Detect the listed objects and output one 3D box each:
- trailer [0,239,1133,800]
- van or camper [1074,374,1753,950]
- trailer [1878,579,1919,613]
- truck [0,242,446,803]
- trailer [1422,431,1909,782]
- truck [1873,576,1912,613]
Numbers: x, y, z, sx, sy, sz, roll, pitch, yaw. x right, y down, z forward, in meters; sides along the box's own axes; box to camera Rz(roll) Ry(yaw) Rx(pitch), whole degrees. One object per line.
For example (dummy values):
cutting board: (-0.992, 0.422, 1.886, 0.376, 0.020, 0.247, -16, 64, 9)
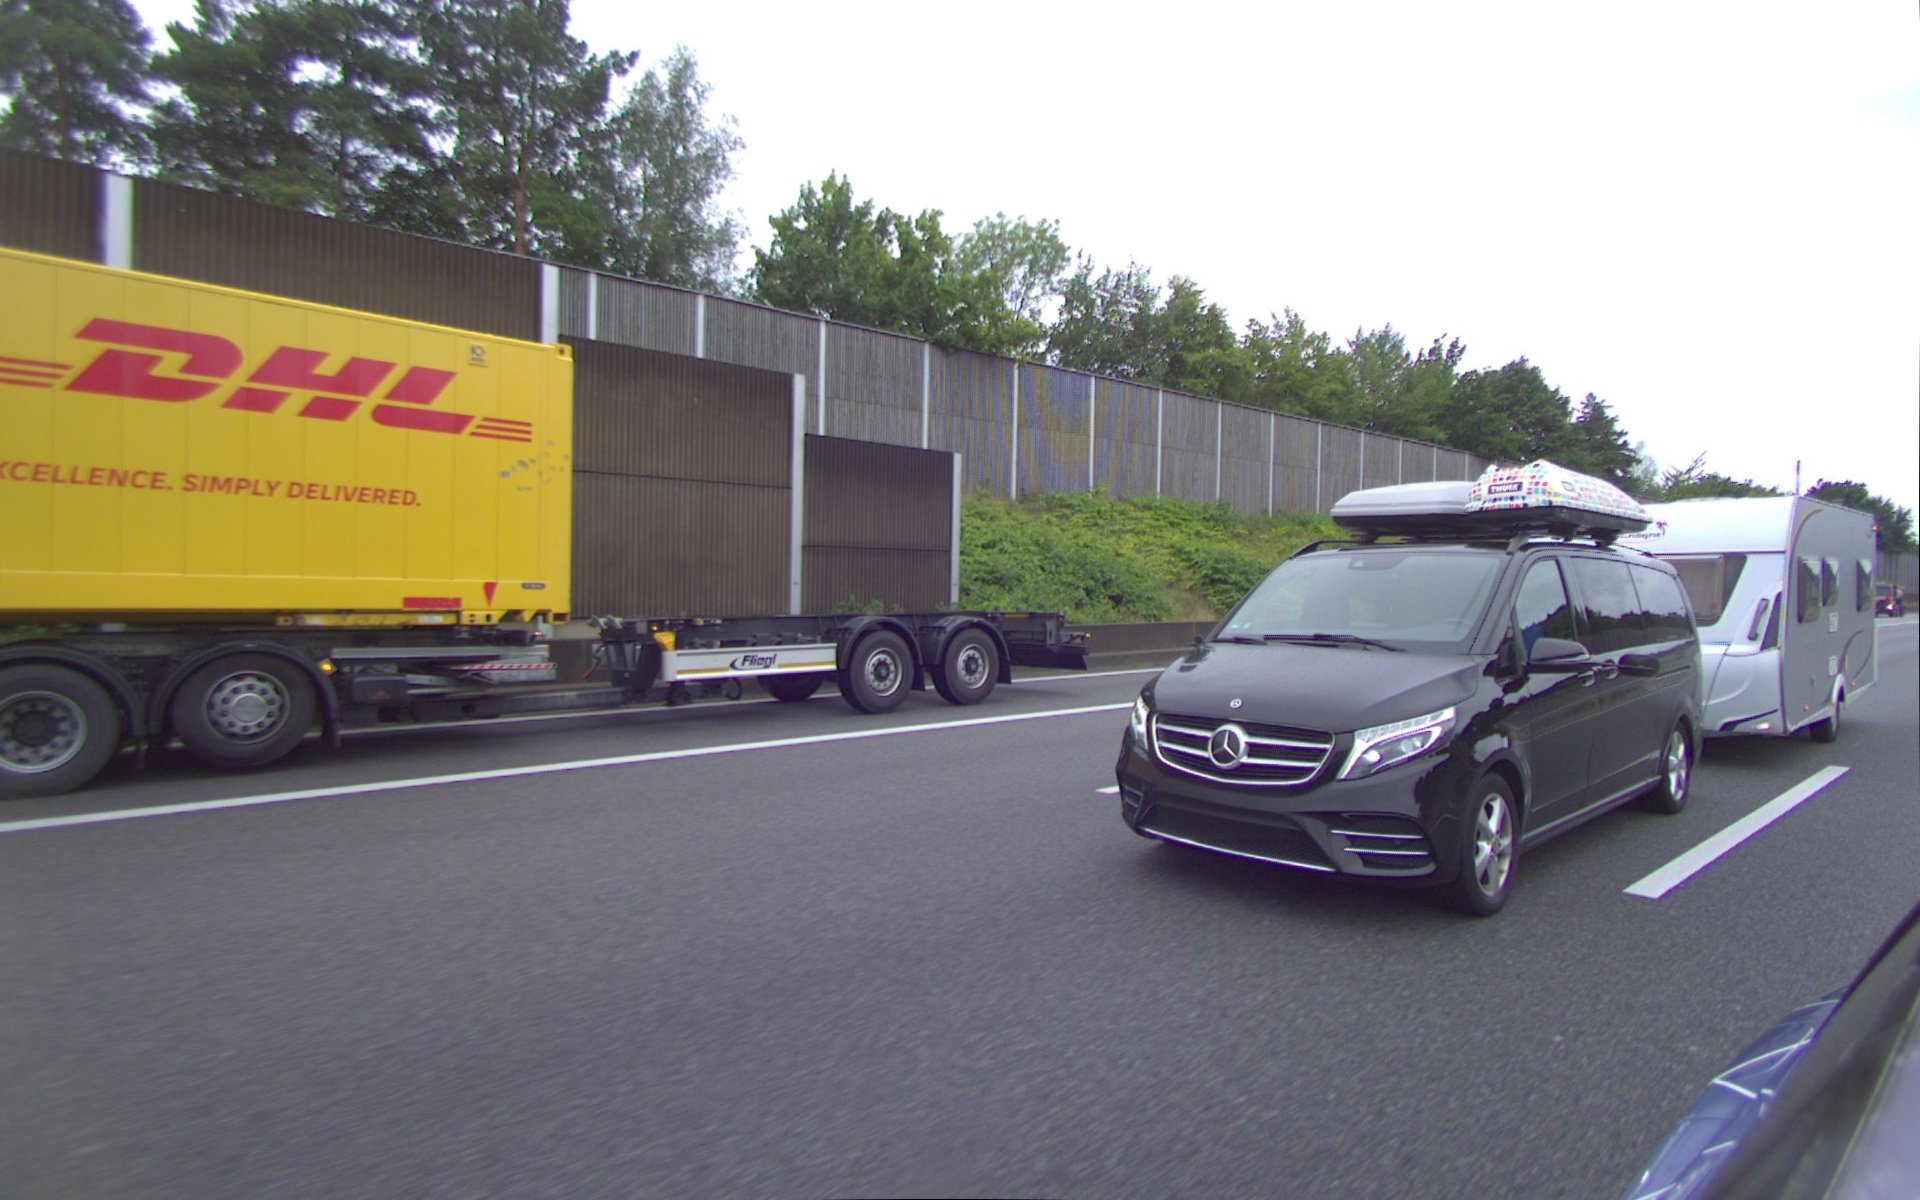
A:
trailer: (-4.261, -0.620, 11.343, 16.401, 4.003, 2.654, -1, 0, -42)
van or camper: (3.333, 0.218, 6.599, 5.580, 2.298, 1.894, 0, 1, -41)
trailer: (94.822, -0.408, 102.152, 9.244, 3.288, 2.449, 0, 1, -44)
truck: (-8.961, -0.533, 7.129, 9.167, 4.008, 2.689, -1, 0, -42)
trailer: (8.145, 0.012, 11.198, 7.381, 2.675, 2.726, 0, 1, -41)
truck: (90.525, -0.575, 98.228, 3.933, 3.508, 2.417, 0, 1, -43)
